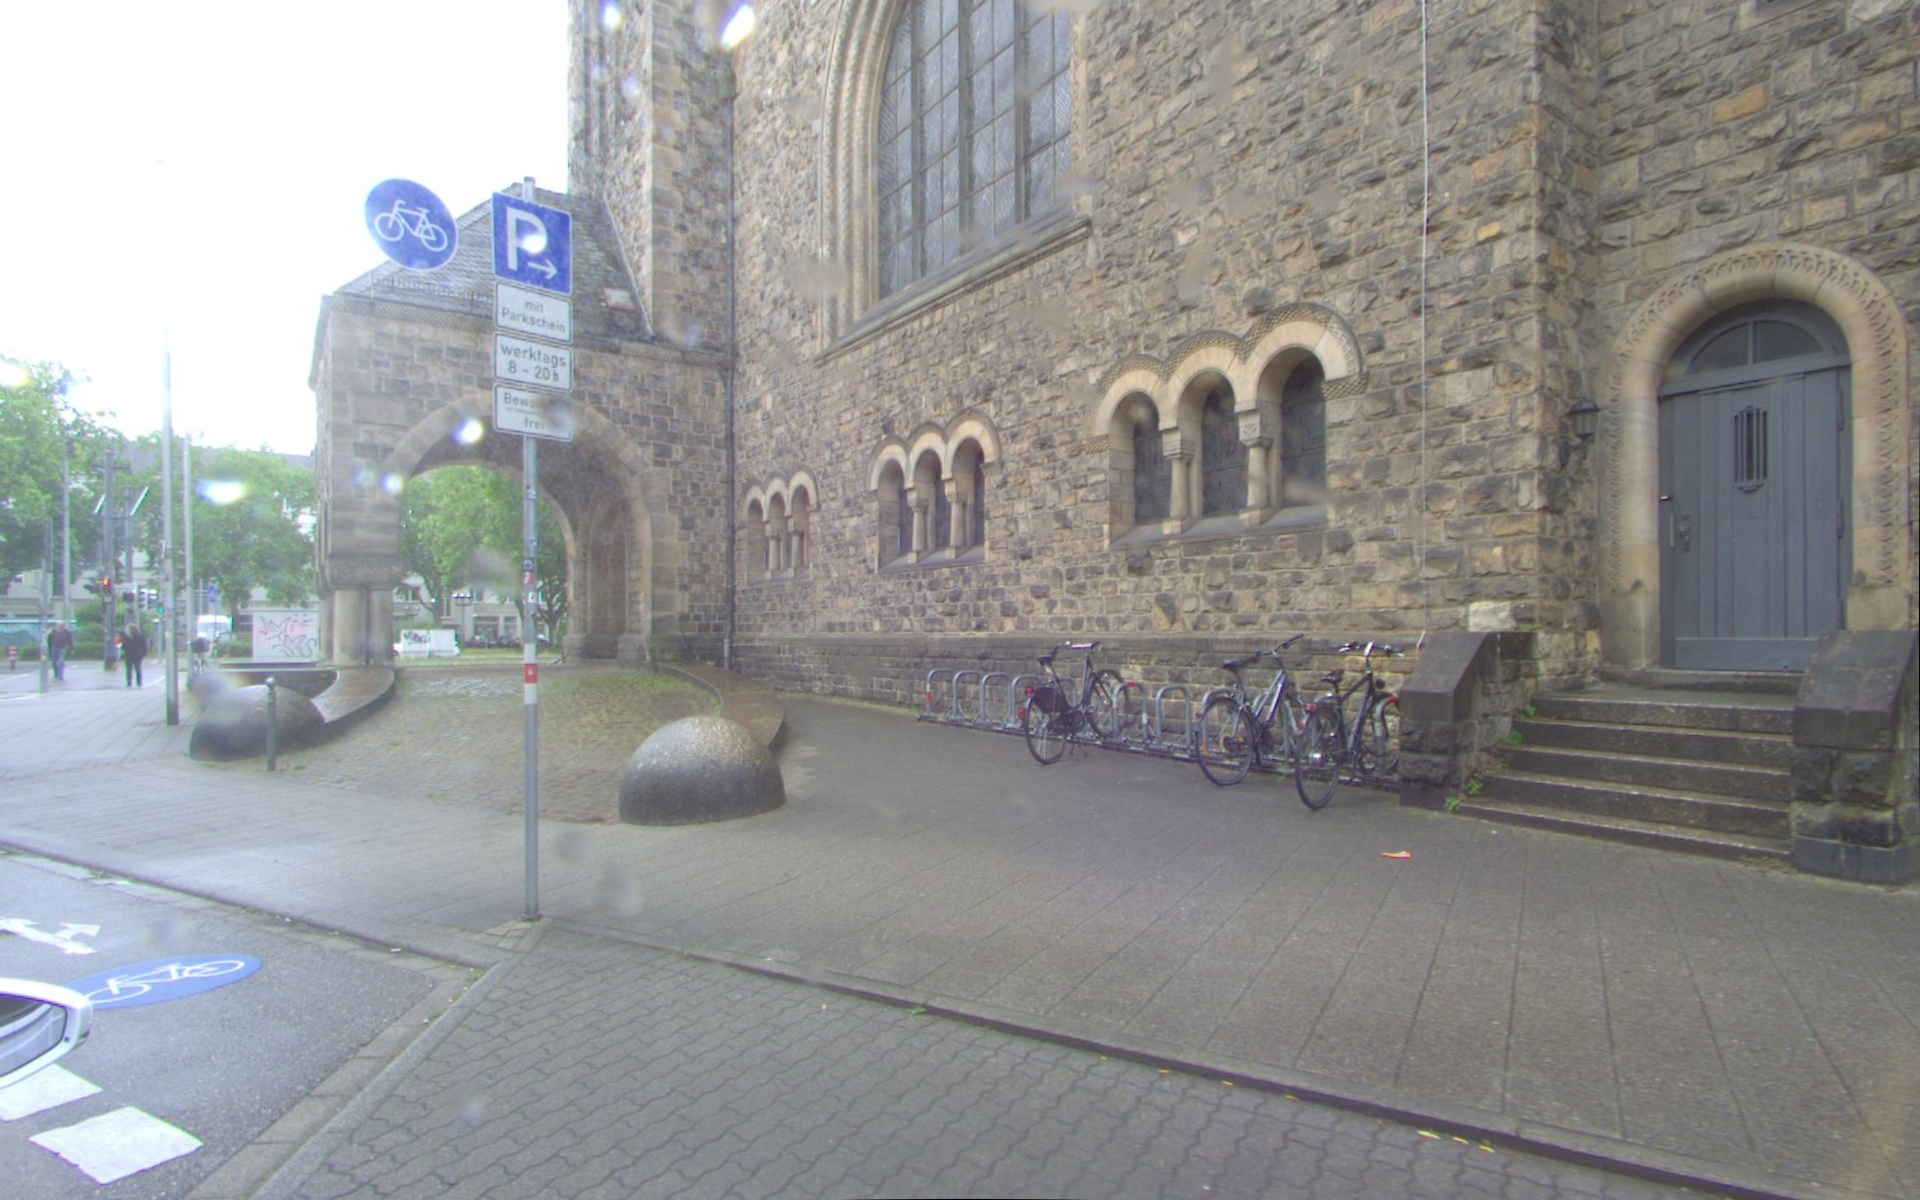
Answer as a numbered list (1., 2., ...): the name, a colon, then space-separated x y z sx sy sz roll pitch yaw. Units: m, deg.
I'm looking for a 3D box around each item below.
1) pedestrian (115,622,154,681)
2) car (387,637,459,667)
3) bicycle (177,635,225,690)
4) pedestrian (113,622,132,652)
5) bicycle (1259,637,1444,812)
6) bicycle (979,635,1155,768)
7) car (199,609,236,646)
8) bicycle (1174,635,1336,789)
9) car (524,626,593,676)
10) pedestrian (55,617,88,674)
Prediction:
1. pedestrian: -23.566 1.462 28.599 0.775 1.667 0.651 0 0 -34
2. car: -29.816 2.850 55.600 3.401 1.572 1.584 0 -1 -33
3. bicycle: -16.787 1.363 22.133 2.049 1.169 0.327 -1 -1 38
4. pedestrian: -45.067 2.003 53.900 0.666 1.573 0.758 0 -2 -30
5. bicycle: 2.968 0.852 7.472 1.971 1.068 0.507 -2 0 -45
6. bicycle: 1.115 0.956 10.020 0.684 1.119 1.973 -1 0 43
7. car: -53.850 2.009 72.659 1.888 2.588 4.757 0 -1 -34
8. bicycle: 2.547 0.896 8.541 1.697 1.126 0.556 -2 0 -45
9. car: -12.802 1.587 31.867 1.389 1.498 3.200 1 -2 -34
10. pedestrian: -28.510 1.441 32.127 0.780 1.782 0.936 0 0 -43
